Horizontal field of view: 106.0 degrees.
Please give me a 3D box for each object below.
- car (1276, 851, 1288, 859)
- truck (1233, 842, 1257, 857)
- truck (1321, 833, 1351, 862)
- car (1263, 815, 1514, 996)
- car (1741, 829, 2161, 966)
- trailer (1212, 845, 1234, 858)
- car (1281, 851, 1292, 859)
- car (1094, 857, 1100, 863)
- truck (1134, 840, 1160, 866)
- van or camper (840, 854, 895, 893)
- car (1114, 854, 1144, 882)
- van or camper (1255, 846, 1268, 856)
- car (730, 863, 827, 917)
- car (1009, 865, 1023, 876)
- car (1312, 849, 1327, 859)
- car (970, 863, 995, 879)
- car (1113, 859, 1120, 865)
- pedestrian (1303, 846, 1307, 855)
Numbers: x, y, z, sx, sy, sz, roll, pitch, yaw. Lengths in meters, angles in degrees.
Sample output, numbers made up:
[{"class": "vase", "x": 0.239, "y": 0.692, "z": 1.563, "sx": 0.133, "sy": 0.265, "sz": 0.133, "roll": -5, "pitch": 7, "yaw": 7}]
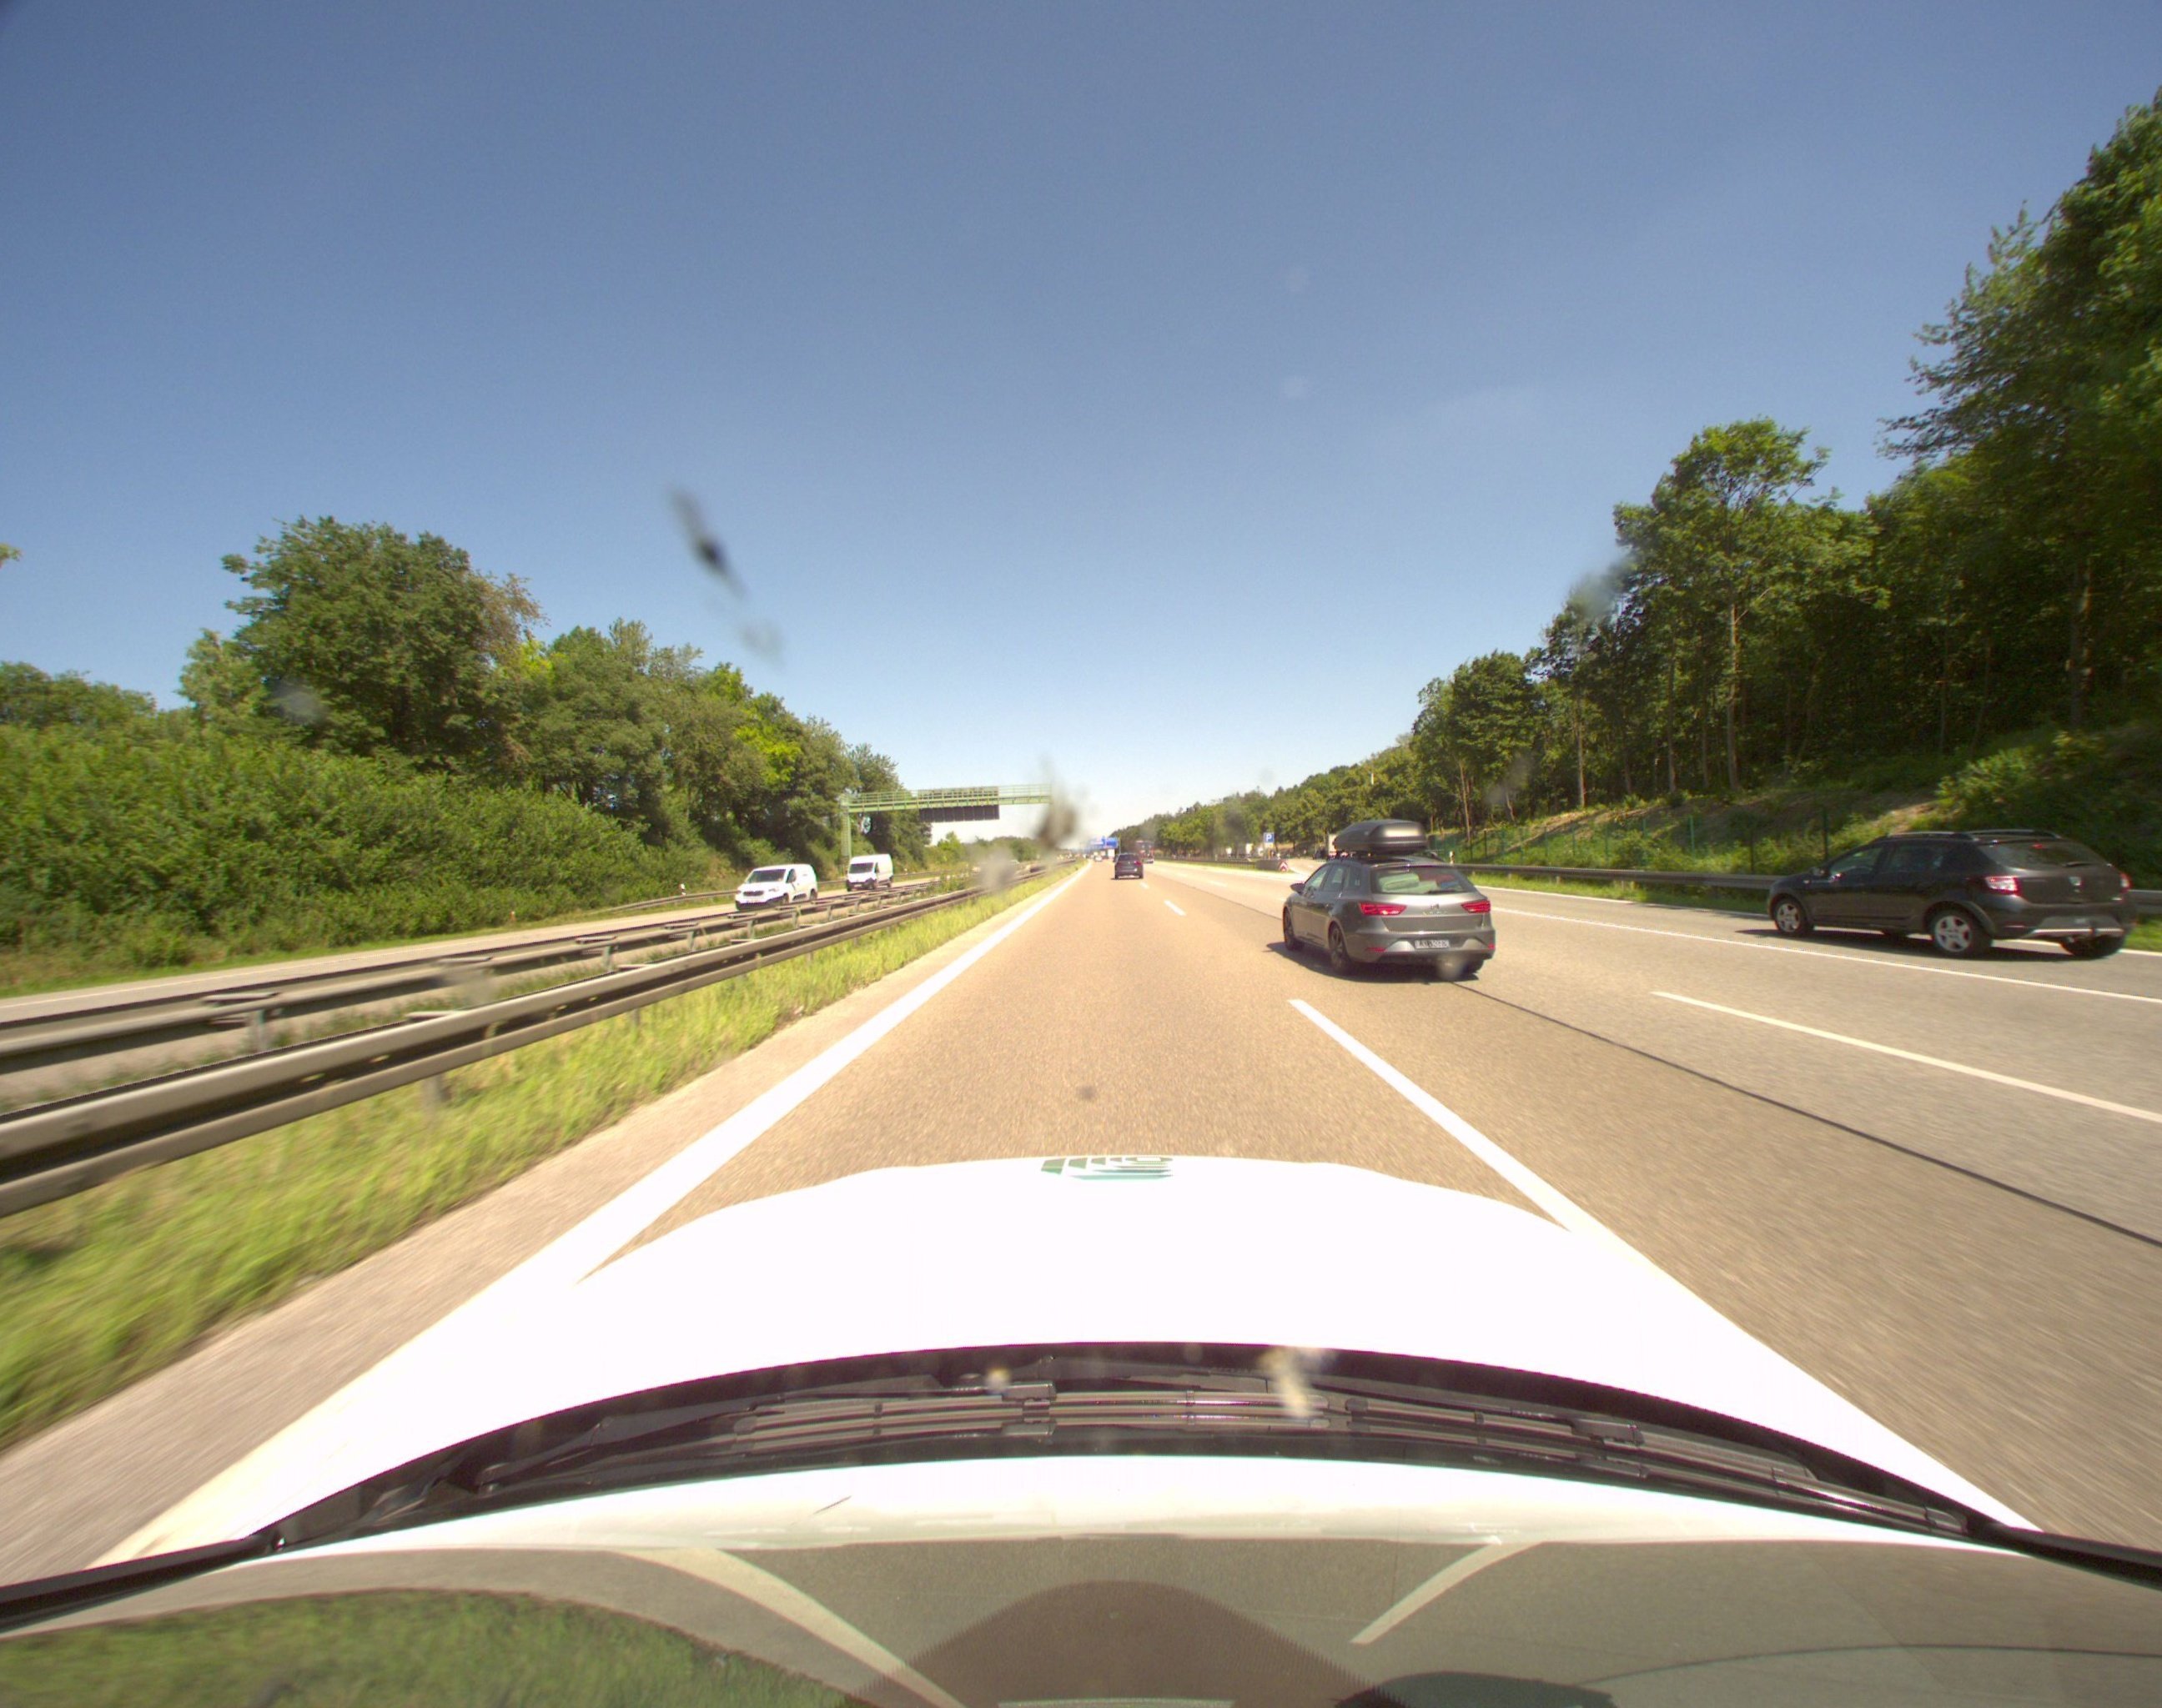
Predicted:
[{"class": "car", "x": 46.160, "y": 0.282, "z": 187.107, "sx": 1.649, "sy": 1.675, "sz": 4.654, "roll": -2, "pitch": 0, "yaw": 2}, {"class": "truck", "x": 46.304, "y": -1.283, "z": 230.804, "sx": 2.990, "sy": 3.931, "sz": 14.441, "roll": -2, "pitch": 0, "yaw": -3}, {"class": "truck", "x": 37.115, "y": -0.930, "z": 118.771, "sx": 3.263, "sy": 3.947, "sz": 9.382, "roll": -2, "pitch": 0, "yaw": 12}, {"class": "car", "x": 3.872, "y": 0.557, "z": 11.242, "sx": 1.659, "sy": 1.876, "sz": 4.828, "roll": -3, "pitch": 0, "yaw": 1}, {"class": "car", "x": 11.854, "y": 0.500, "z": 11.539, "sx": 1.757, "sy": 1.568, "sz": 4.263, "roll": -1, "pitch": 0, "yaw": 4}, {"class": "trailer", "x": 43.894, "y": -0.798, "z": 251.815, "sx": 2.854, "sy": 3.796, "sz": 14.158, "roll": -1, "pitch": 0, "yaw": -6}, {"class": "car", "x": 45.609, "y": 0.210, "z": 180.582, "sx": 1.981, "sy": 1.574, "sz": 4.011, "roll": -2, "pitch": 0, "yaw": 10}, {"class": "car", "x": 3.835, "y": 1.465, "z": 198.443, "sx": 1.466, "sy": 1.227, "sz": 3.411, "roll": -2, "pitch": 0, "yaw": 1}, {"class": "truck", "x": 11.657, "y": -0.170, "z": 145.571, "sx": 3.766, "sy": 4.422, "sz": 14.054, "roll": -2, "pitch": 0, "yaw": 1}, {"class": "van or camper", "x": -15.537, "y": 1.364, "z": 59.624, "sx": 2.030, "sy": 2.559, "sz": 6.200, "roll": -4, "pitch": 0, "yaw": 1}, {"class": "car", "x": 3.100, "y": 0.860, "z": 51.998, "sx": 1.791, "sy": 1.669, "sz": 4.263, "roll": -1, "pitch": 0, "yaw": 4}, {"class": "van or camper", "x": 46.476, "y": -0.709, "z": 209.839, "sx": 2.195, "sy": 2.530, "sz": 5.877, "roll": -2, "pitch": 0, "yaw": 1}, {"class": "car", "x": -12.111, "y": 1.378, "z": 33.009, "sx": 1.739, "sy": 1.830, "sz": 5.170, "roll": -4, "pitch": 0, "yaw": 1}, {"class": "car", "x": -9.861, "y": 2.434, "z": 123.908, "sx": 1.660, "sy": 1.464, "sz": 3.883, "roll": -5, "pitch": 0, "yaw": 1}, {"class": "car", "x": 41.639, "y": -0.060, "z": 142.221, "sx": 1.981, "sy": 1.651, "sz": 4.330, "roll": -2, "pitch": 0, "yaw": 10}, {"class": "car", "x": -10.880, "y": 1.874, "z": 90.338, "sx": 1.872, "sy": 1.610, "sz": 5.311, "roll": -4, "pitch": 0, "yaw": 1}, {"class": "car", "x": 7.706, "y": 1.700, "z": 175.571, "sx": 1.466, "sy": 1.398, "sz": 3.411, "roll": 1, "pitch": 0, "yaw": 1}, {"class": "pedestrian", "x": 46.232, "y": -0.649, "z": 168.246, "sx": 0.792, "sy": 1.782, "sz": 0.645, "roll": -2, "pitch": 0, "yaw": 14}]
